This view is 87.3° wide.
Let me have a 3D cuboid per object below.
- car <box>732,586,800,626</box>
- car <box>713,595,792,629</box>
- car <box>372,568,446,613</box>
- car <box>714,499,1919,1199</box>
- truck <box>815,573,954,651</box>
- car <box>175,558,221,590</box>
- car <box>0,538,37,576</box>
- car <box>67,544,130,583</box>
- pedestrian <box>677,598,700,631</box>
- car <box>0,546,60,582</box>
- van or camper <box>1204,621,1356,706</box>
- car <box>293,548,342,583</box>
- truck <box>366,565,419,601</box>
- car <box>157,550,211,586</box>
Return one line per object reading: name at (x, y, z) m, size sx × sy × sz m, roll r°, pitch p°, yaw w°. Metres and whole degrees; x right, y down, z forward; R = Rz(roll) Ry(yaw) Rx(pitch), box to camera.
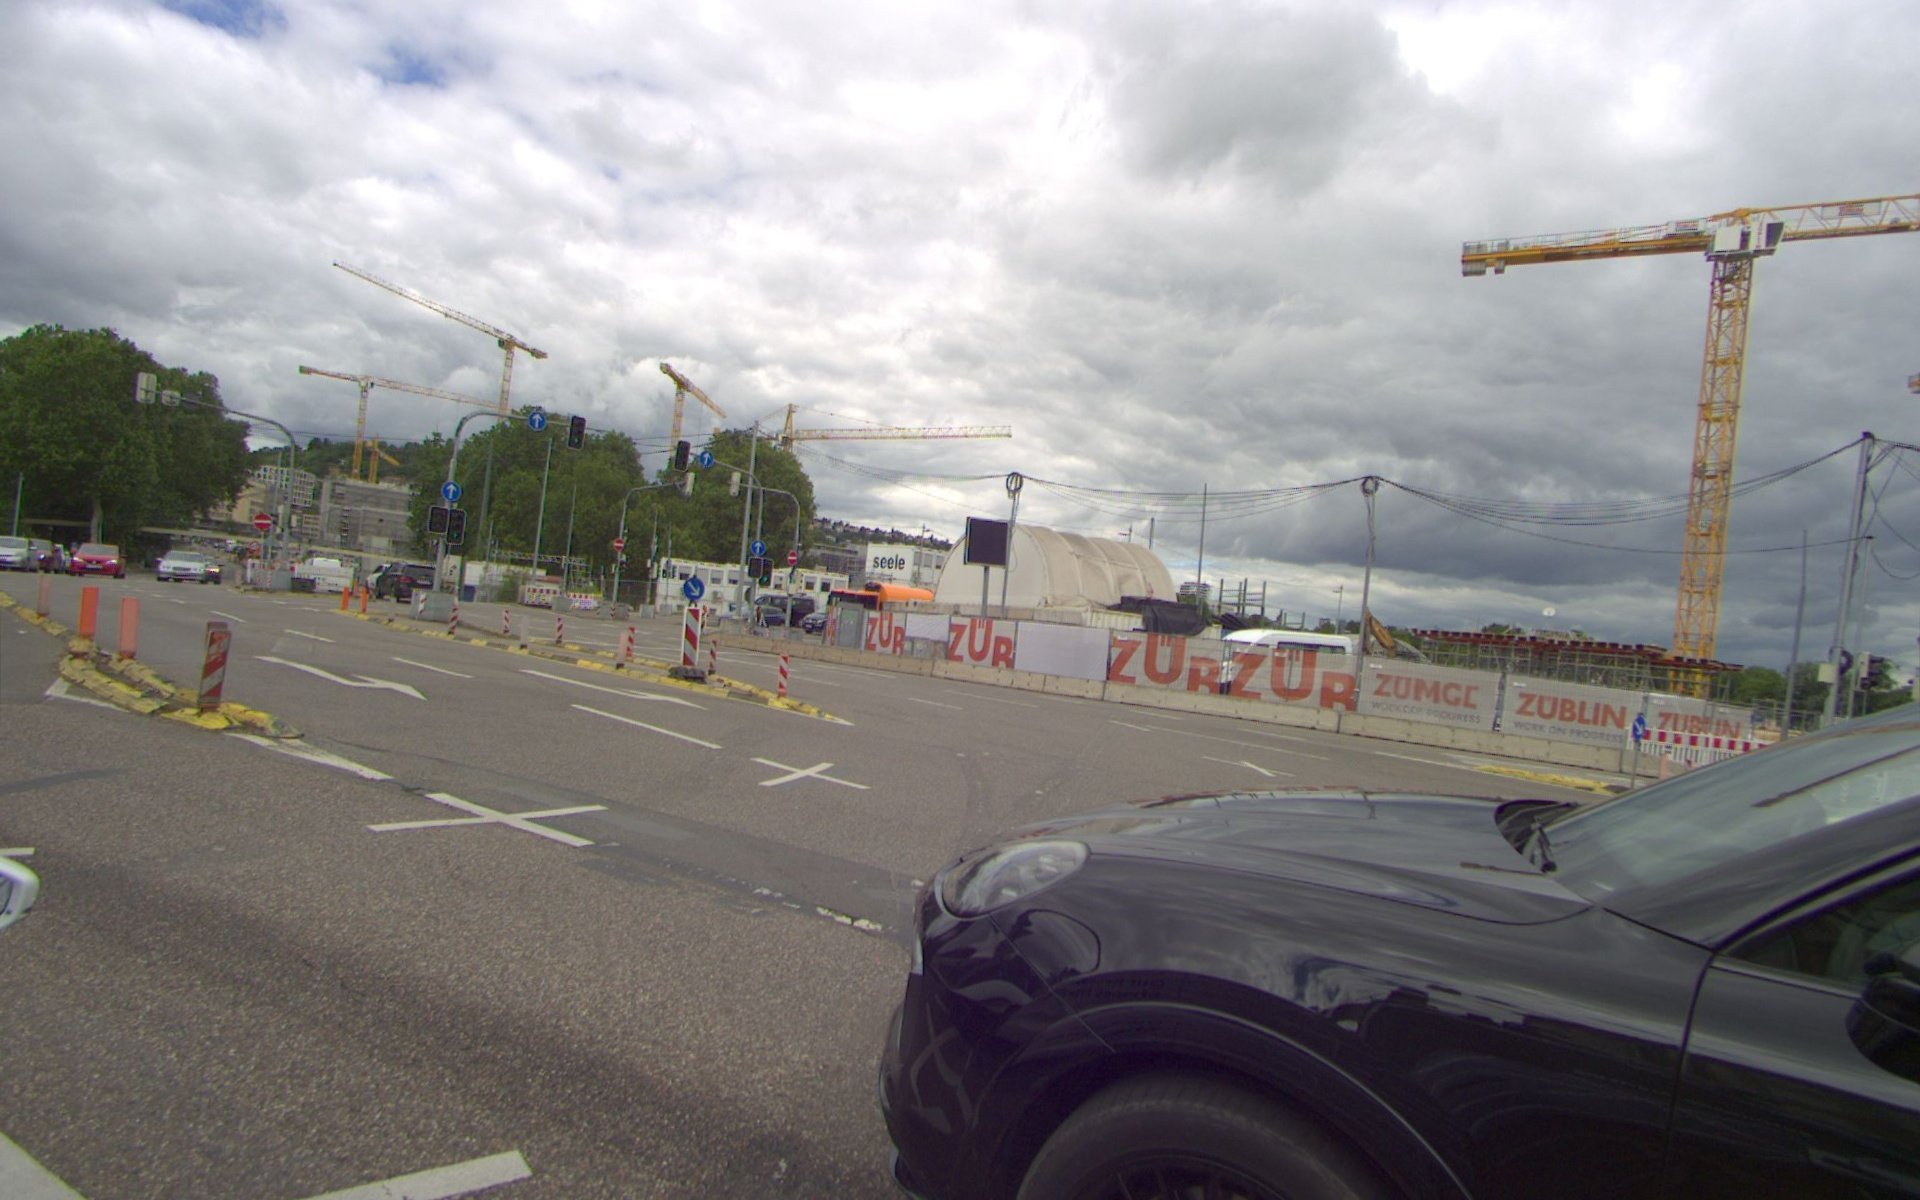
car at (-12.639, 0.422, 65.730) m, size 1.968 × 2.037 × 3.993 m, roll 6°, pitch -2°, yaw 33°
car at (-11.395, 0.694, 55.510) m, size 1.759 × 1.452 × 4.057 m, roll 5°, pitch -2°, yaw 35°
car at (-23.980, -0.422, 43.747) m, size 1.932 × 1.686 × 3.601 m, roll 7°, pitch -3°, yaw -42°
car at (1.971, 0.872, 1.641) m, size 4.533 × 1.667 × 1.953 m, roll 5°, pitch -1°, yaw 33°
truck at (-4.252, 0.809, 59.199) m, size 2.865 × 3.719 × 9.003 m, roll 6°, pitch -1°, yaw 34°
car at (-38.945, -1.324, 51.451) m, size 1.678 × 1.453 × 3.416 m, roll 5°, pitch -1°, yaw -35°
car at (-40.555, -1.818, 42.704) m, size 1.650 × 1.452 × 3.415 m, roll 5°, pitch -2°, yaw -37°
car at (-37.290, -1.560, 43.629) m, size 1.675 × 1.453 × 3.416 m, roll 5°, pitch -1°, yaw -35°
pedestrian at (-14.075, 0.771, 52.136) m, size 0.837 × 1.611 × 0.621 m, roll 4°, pitch -1°, yaw 32°
car at (-44.639, -1.739, 48.336) m, size 1.652 × 1.452 × 3.413 m, roll 8°, pitch -3°, yaw -37°
van or camper at (9.901, 1.962, 31.179) m, size 3.939 × 2.255 × 1.993 m, roll 5°, pitch 0°, yaw -18°
car at (-35.786, -1.896, 56.021) m, size 1.751 × 1.707 × 3.605 m, roll 7°, pitch -3°, yaw -39°
truck at (-32.429, -0.993, 57.464) m, size 1.926 × 1.701 × 3.971 m, roll 8°, pitch -2°, yaw -38°
car at (-35.050, -1.425, 45.501) m, size 1.678 × 1.453 × 3.416 m, roll 5°, pitch -1°, yaw -35°
